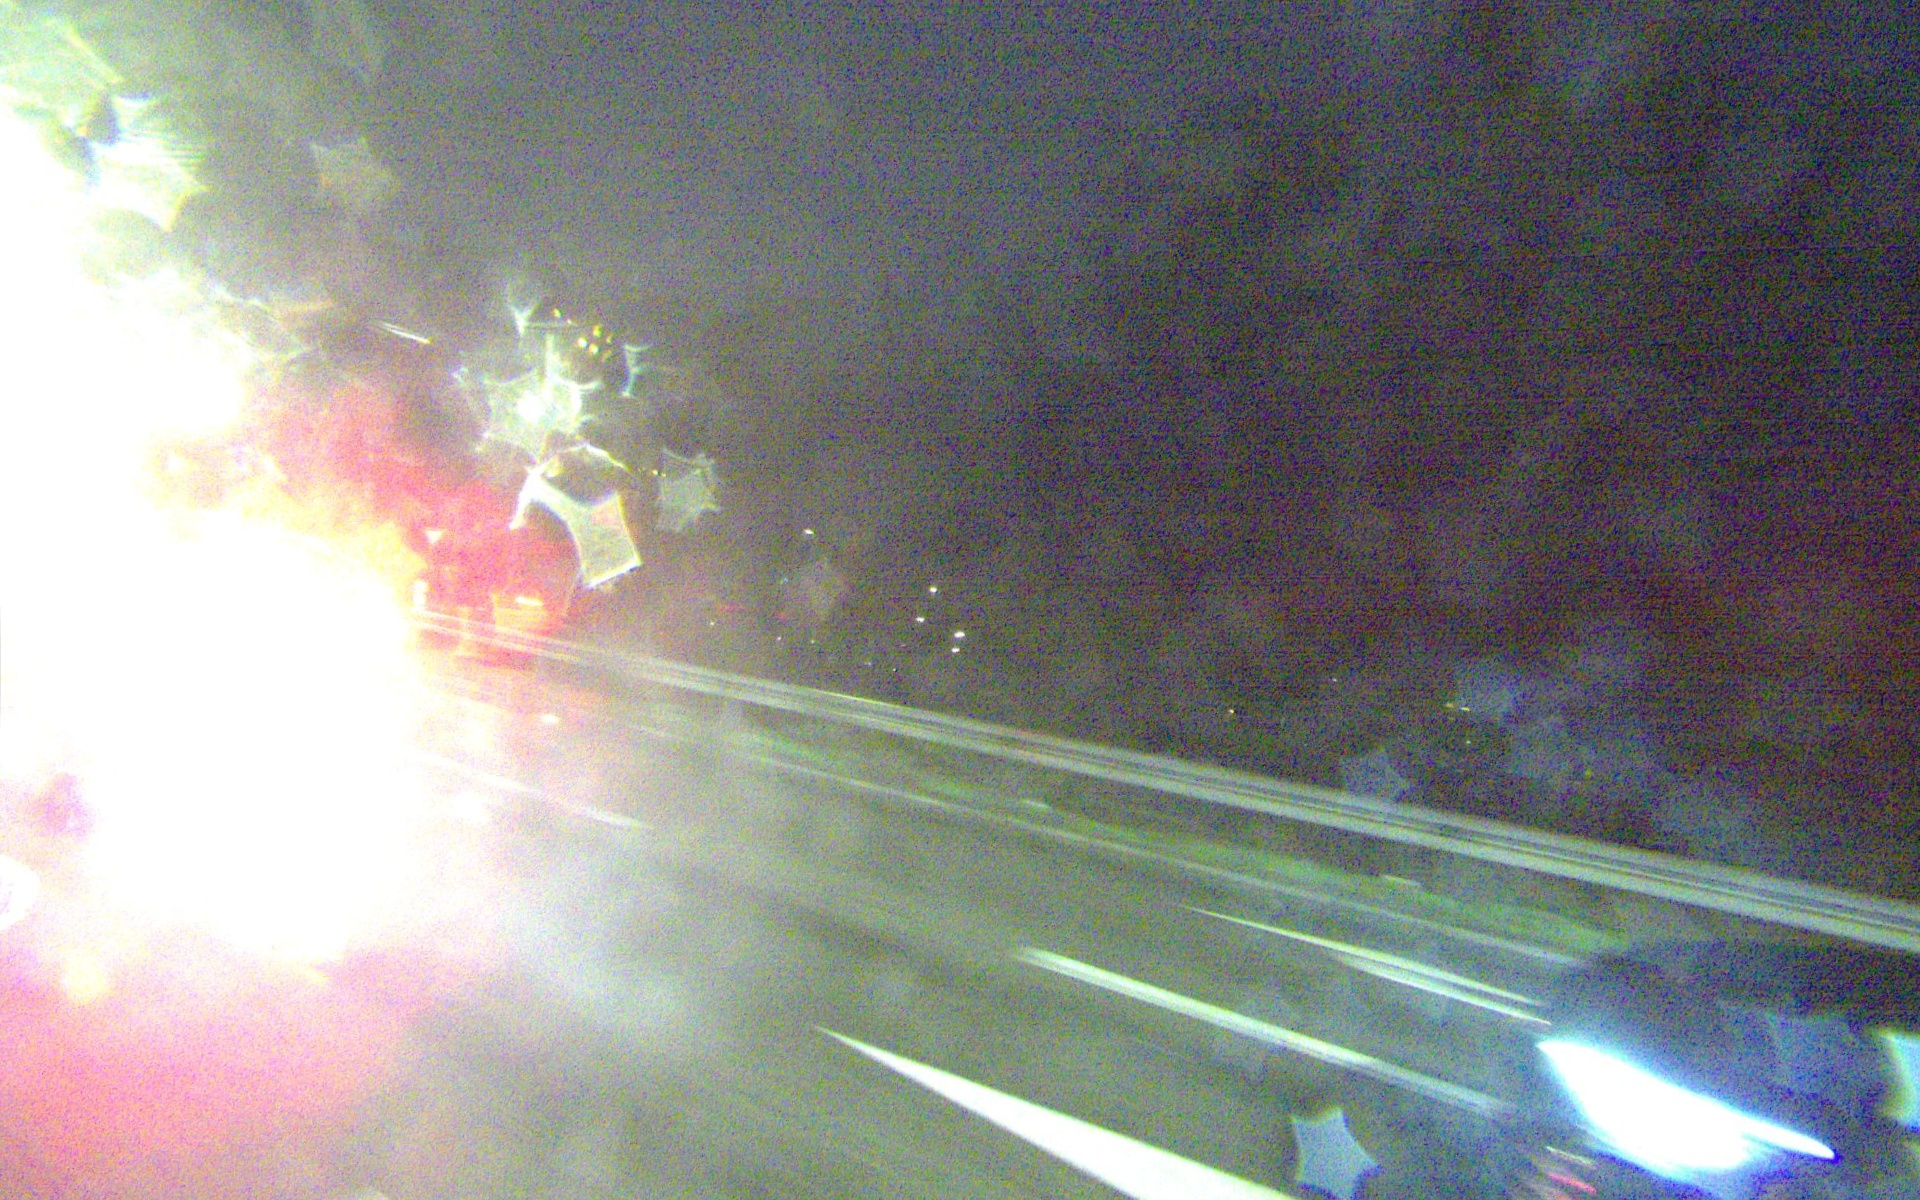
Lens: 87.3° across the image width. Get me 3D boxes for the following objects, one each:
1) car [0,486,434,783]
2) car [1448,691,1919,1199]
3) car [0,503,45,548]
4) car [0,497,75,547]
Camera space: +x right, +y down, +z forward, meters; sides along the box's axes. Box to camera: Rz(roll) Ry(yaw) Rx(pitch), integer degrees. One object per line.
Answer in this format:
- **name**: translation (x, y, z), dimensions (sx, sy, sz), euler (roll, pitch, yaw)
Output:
- **car**: translation (-5.725, 0.141, 7.092), dimensions (3.895, 1.538, 1.681), euler (6, -3, 32)
- **car**: translation (3.364, 1.243, 1.562), dimensions (4.487, 1.522, 1.677), euler (5, -5, 34)
- **car**: translation (-34.626, -2.875, 34.709), dimensions (1.716, 1.360, 4.057), euler (9, -2, 27)
- **car**: translation (-37.319, -3.246, 38.638), dimensions (1.824, 1.535, 4.499), euler (9, -2, 27)
